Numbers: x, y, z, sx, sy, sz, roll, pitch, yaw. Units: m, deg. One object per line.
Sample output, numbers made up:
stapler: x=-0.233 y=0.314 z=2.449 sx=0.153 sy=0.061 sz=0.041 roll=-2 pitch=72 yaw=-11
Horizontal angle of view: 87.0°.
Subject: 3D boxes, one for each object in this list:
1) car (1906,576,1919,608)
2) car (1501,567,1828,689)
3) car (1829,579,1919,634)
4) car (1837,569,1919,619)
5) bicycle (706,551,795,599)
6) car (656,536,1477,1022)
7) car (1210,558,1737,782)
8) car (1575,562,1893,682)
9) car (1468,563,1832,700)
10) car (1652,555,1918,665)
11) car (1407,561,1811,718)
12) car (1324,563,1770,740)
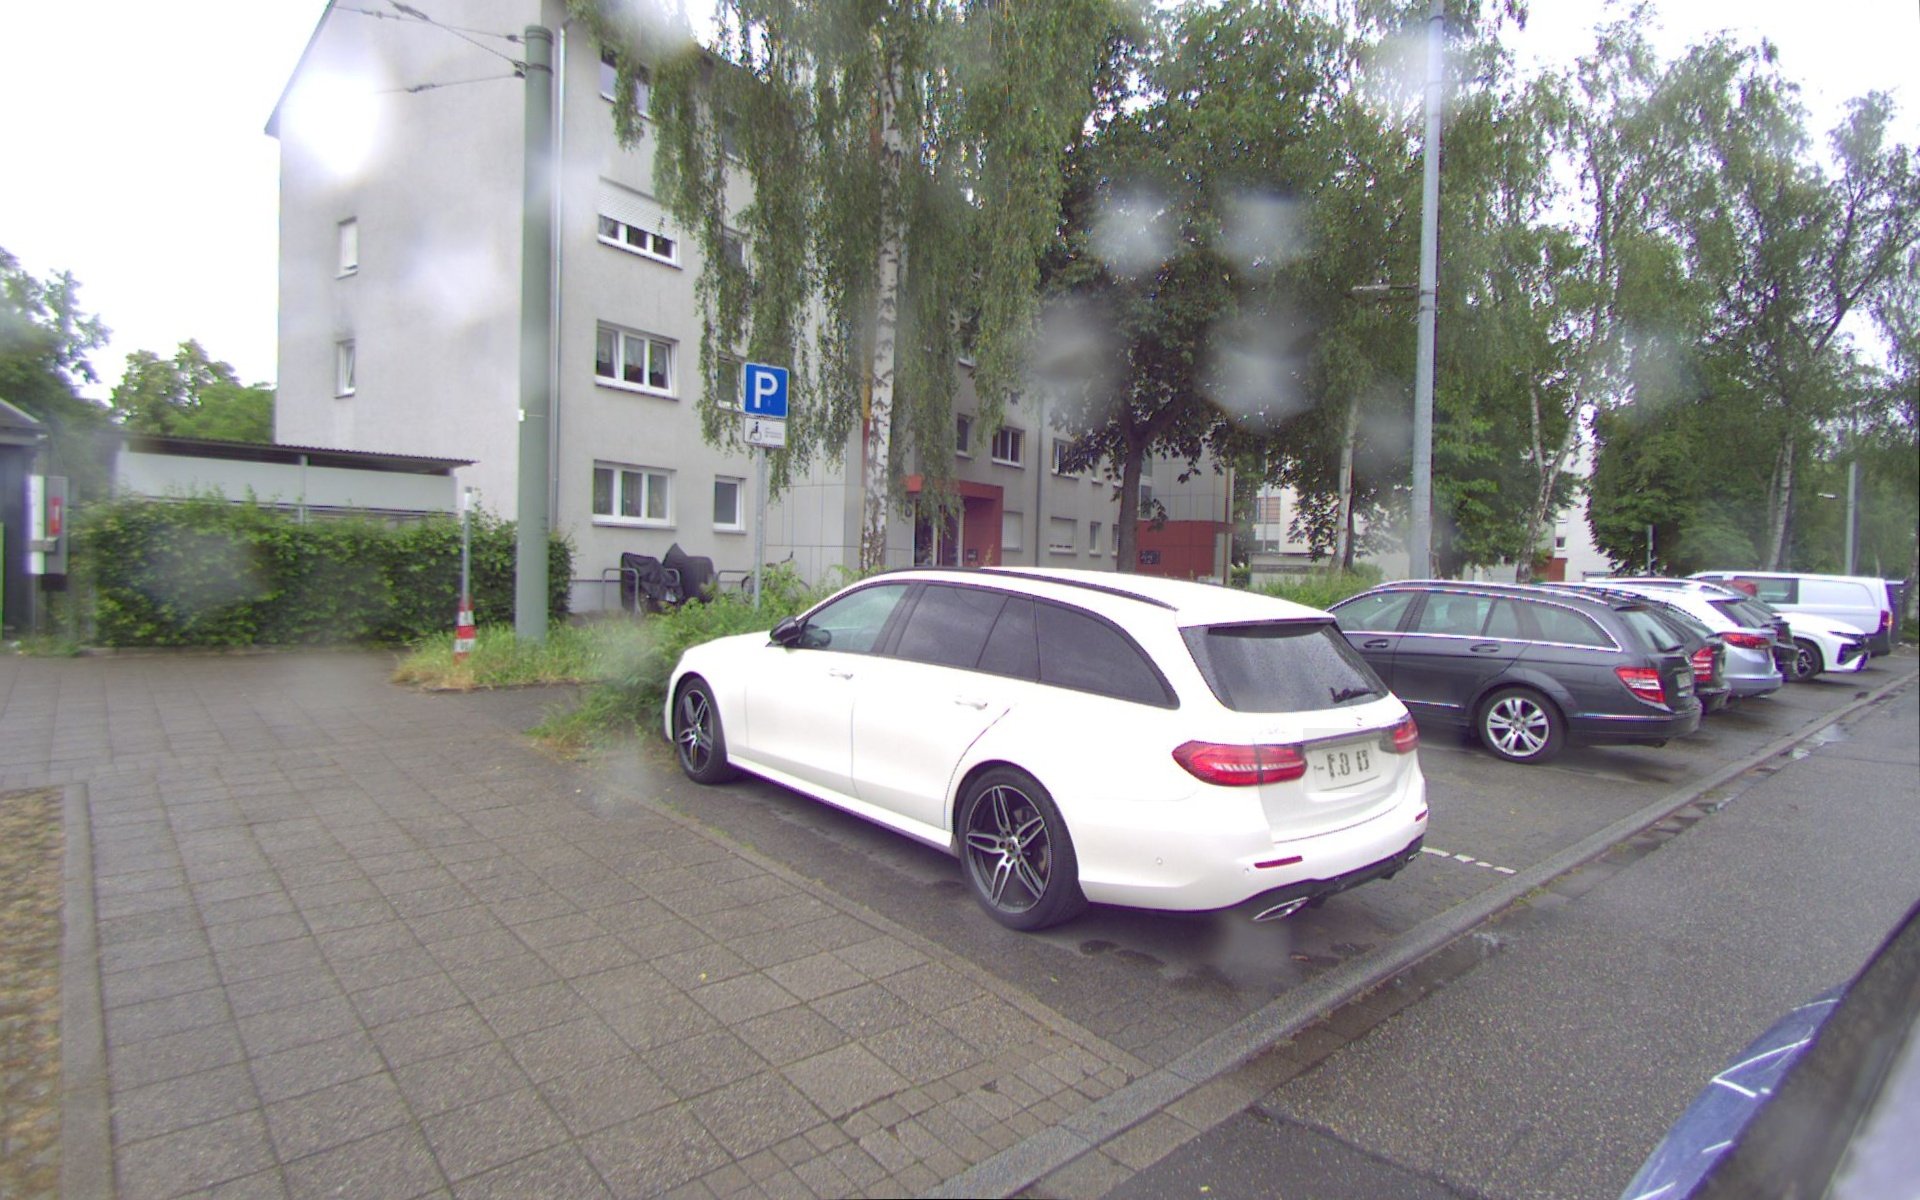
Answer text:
car: x=53.219 y=-0.429 z=53.809 sx=1.866 sy=1.701 sz=3.998 roll=-1 pitch=1 yaw=-36
car: x=11.262 y=0.335 z=16.393 sx=1.653 sy=1.514 sz=4.044 roll=-1 pitch=5 yaw=-43
car: x=34.480 y=0.223 z=36.848 sx=1.866 sy=1.937 sz=3.998 roll=-1 pitch=1 yaw=-36
car: x=37.805 y=-0.245 z=40.356 sx=1.866 sy=1.937 sz=3.998 roll=-1 pitch=1 yaw=-36
bicycle: x=-4.524 y=-0.532 z=21.972 sx=0.701 sy=1.005 sz=1.918 roll=0 pitch=0 yaw=37
car: x=0.081 y=0.474 z=5.601 sx=1.651 sy=1.456 sz=4.623 roll=-1 pitch=5 yaw=-40
car: x=4.584 y=0.447 z=9.503 sx=1.653 sy=1.456 sz=4.044 roll=-1 pitch=5 yaw=-43
car: x=13.711 y=0.285 z=18.149 sx=1.651 sy=1.637 sz=4.182 roll=0 pitch=6 yaw=-40
car: x=9.861 y=0.333 z=14.706 sx=1.653 sy=1.514 sz=4.044 roll=-1 pitch=5 yaw=-43
car: x=17.535 y=0.124 z=21.672 sx=4.172 sy=1.888 sz=1.654 roll=7 pitch=6 yaw=43
car: x=8.175 y=0.362 z=13.032 sx=1.653 sy=1.514 sz=4.044 roll=-1 pitch=5 yaw=-43
car: x=6.483 y=0.416 z=11.532 sx=1.653 sy=1.456 sz=4.044 roll=-1 pitch=5 yaw=-43
